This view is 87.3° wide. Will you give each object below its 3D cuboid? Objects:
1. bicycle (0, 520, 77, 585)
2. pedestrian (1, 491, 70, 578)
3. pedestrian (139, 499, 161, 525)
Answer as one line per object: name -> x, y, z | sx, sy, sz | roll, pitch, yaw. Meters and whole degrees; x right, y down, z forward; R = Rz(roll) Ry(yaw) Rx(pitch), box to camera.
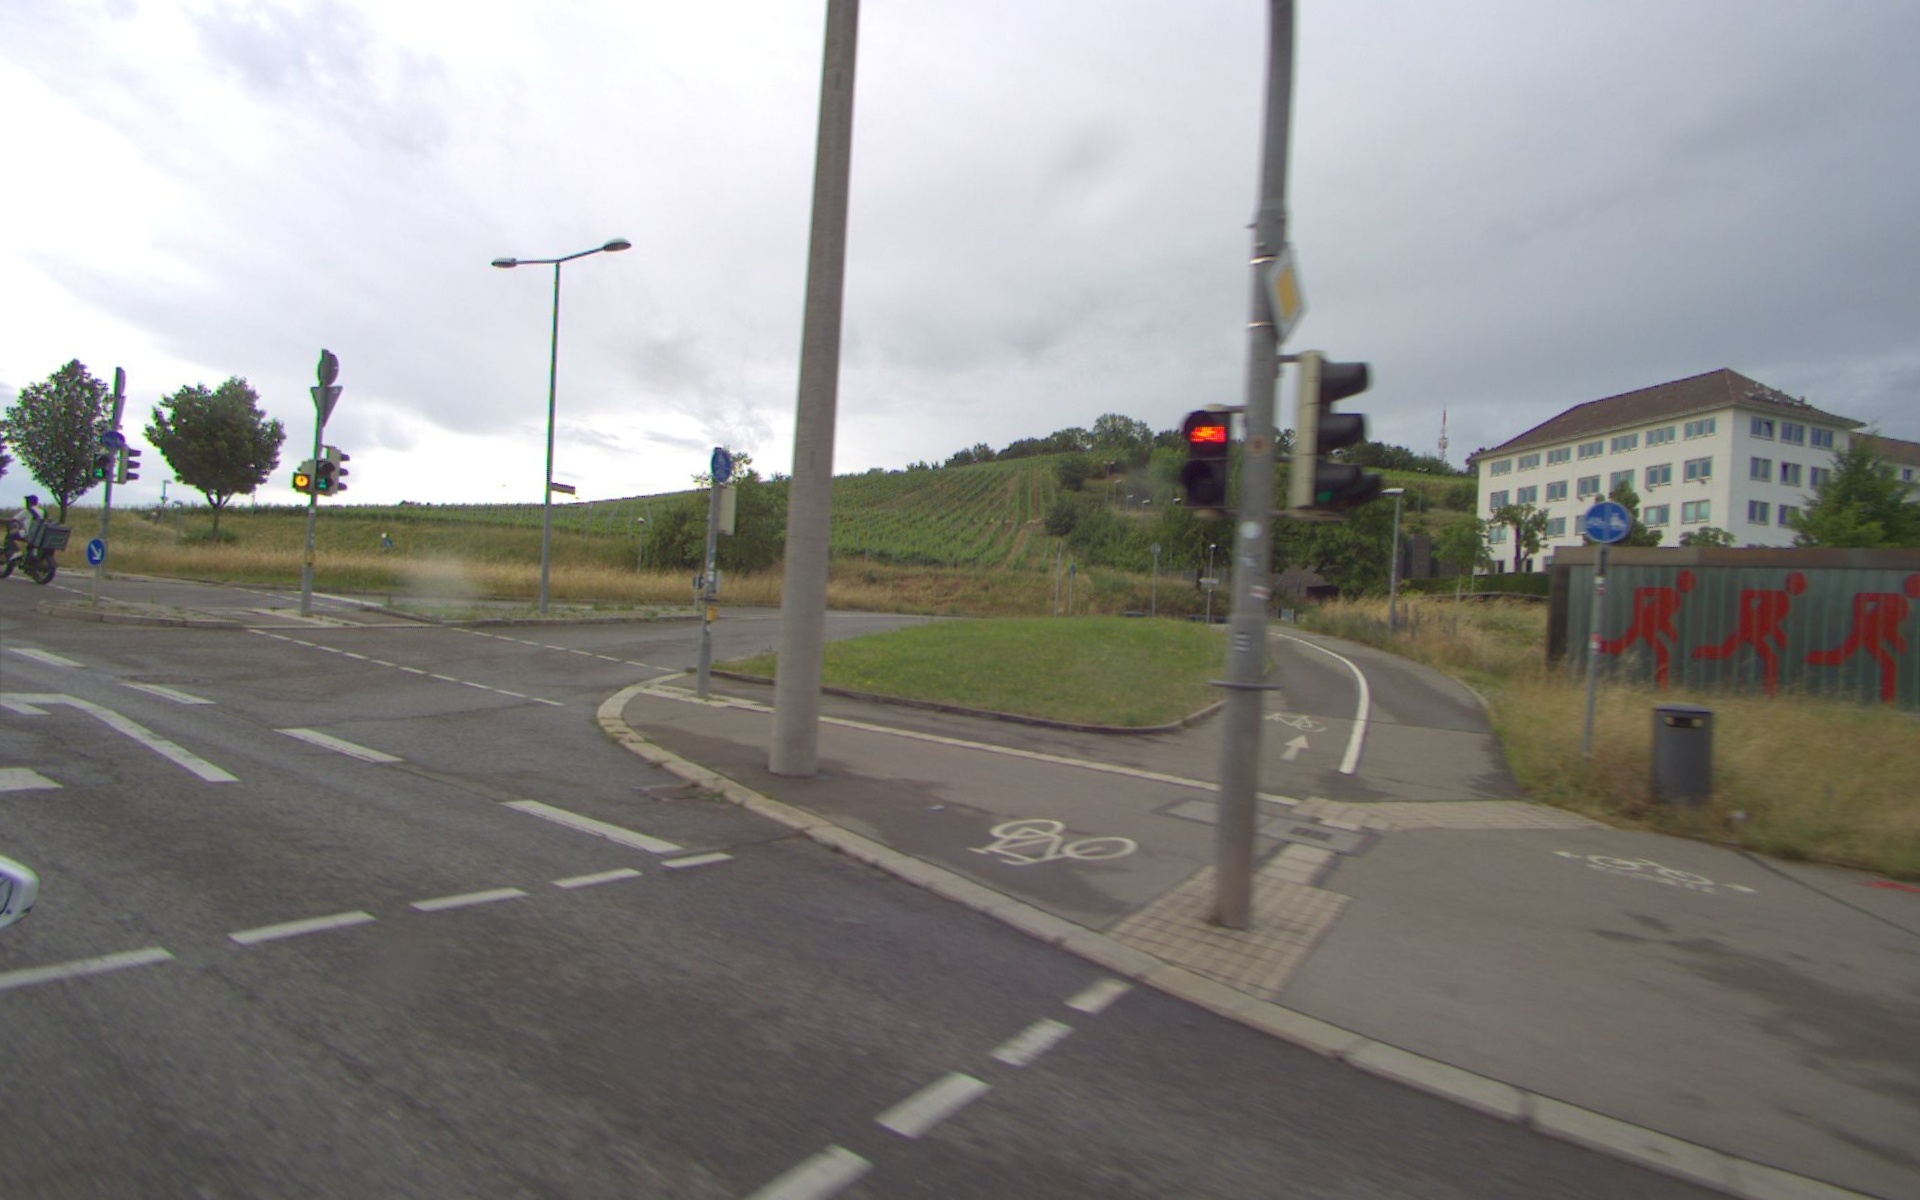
bicycle -> -18.256, -0.932, 19.742 | 1.720, 1.120, 0.633 | 6, 4, 19
pedestrian -> -18.065, -1.273, 19.662 | 0.879, 1.593, 0.633 | 7, 4, 19
pedestrian -> -66.616, -7.240, 82.751 | 1.035, 2.040, 0.780 | 5, 2, -1
